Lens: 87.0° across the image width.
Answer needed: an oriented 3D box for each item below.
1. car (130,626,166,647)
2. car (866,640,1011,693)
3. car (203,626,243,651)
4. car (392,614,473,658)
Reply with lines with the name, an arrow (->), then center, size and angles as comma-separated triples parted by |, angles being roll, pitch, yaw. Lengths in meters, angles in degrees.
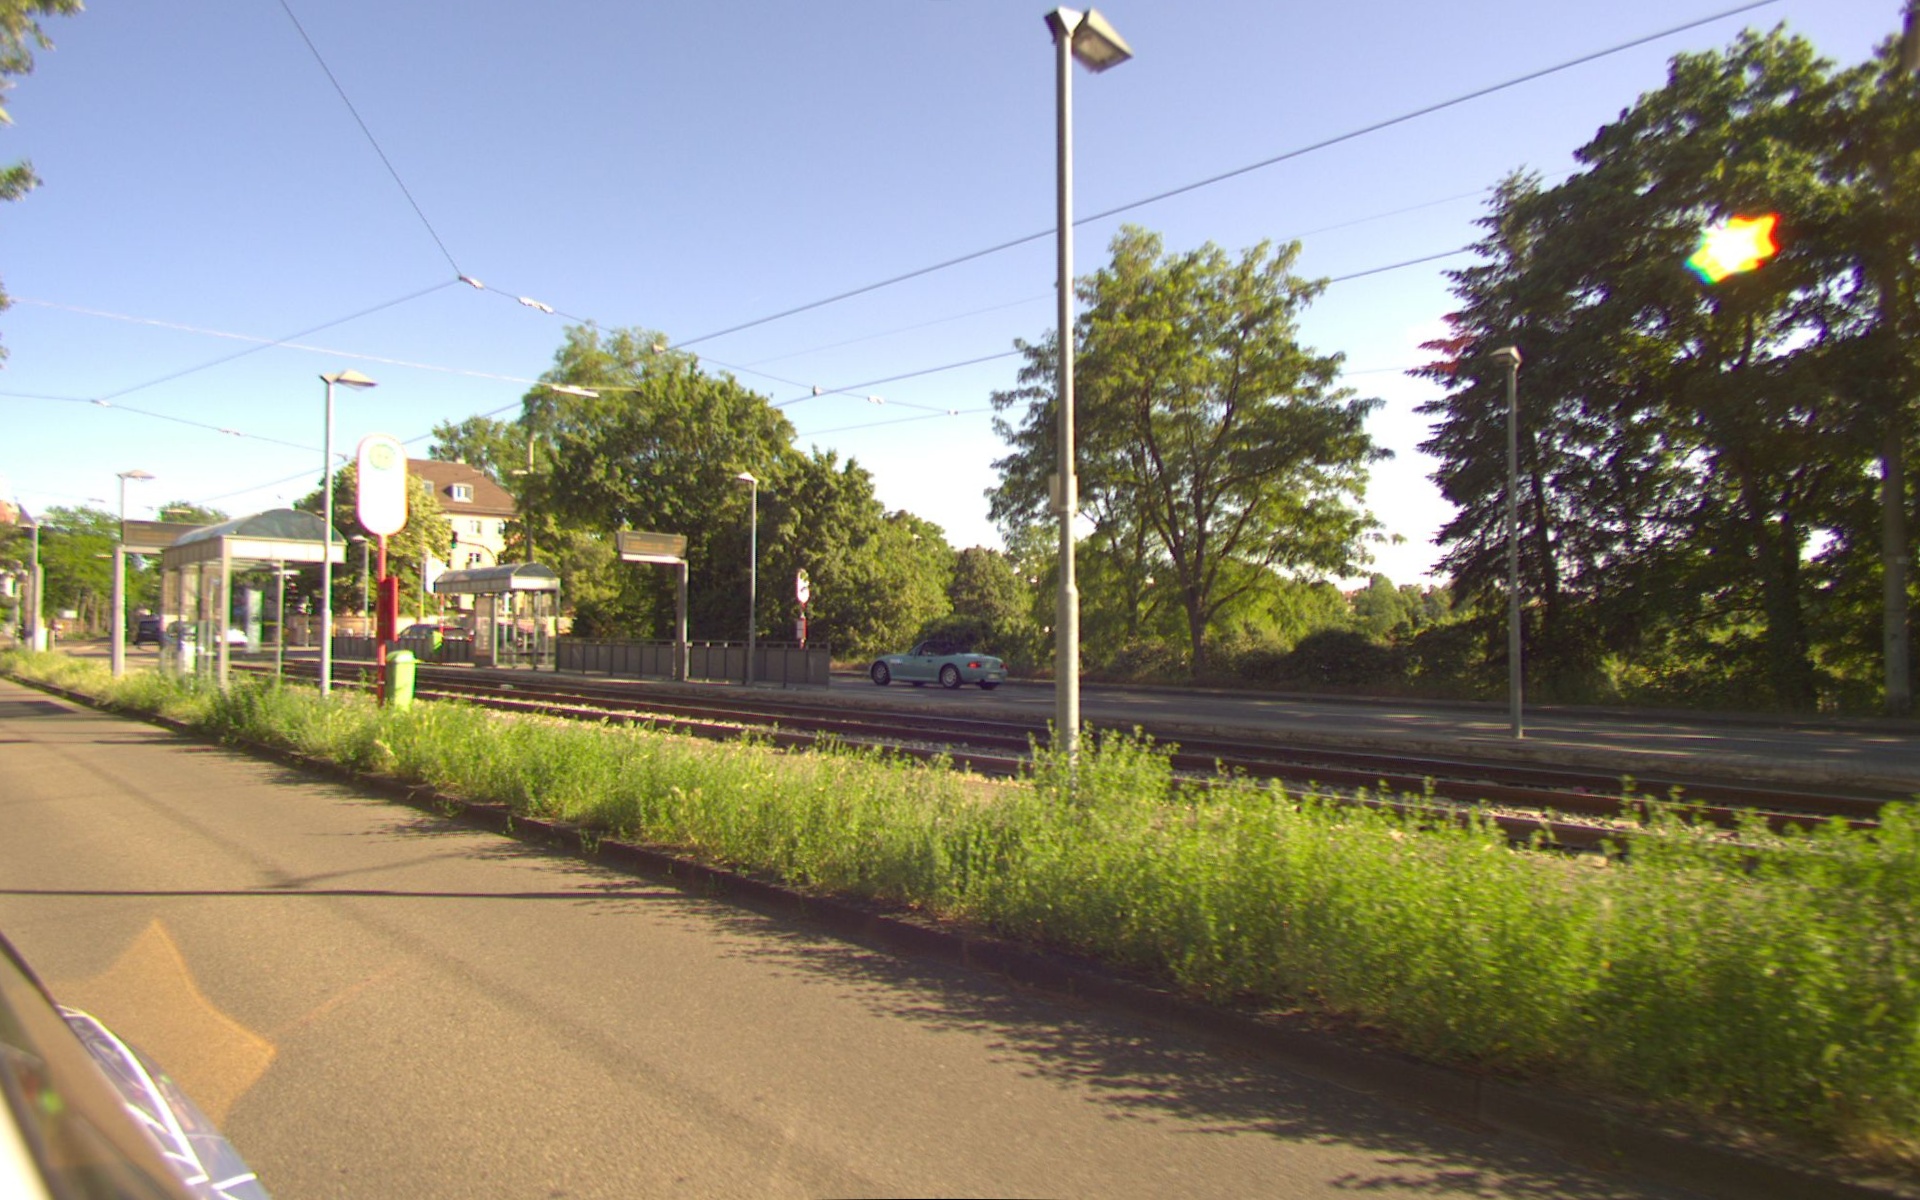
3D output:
car -> -60.675, 2.696, 75.595 | 1.827, 1.497, 3.550 | -1, 0, -44
car -> -0.594, 1.643, 25.741 | 3.675, 1.126, 1.473 | -1, 0, 42
car -> -45.201, 2.313, 62.060 | 1.825, 1.389, 3.446 | -1, 0, -39
car -> -20.188, 1.330, 38.678 | 3.672, 1.569, 1.592 | -1, 0, 42
